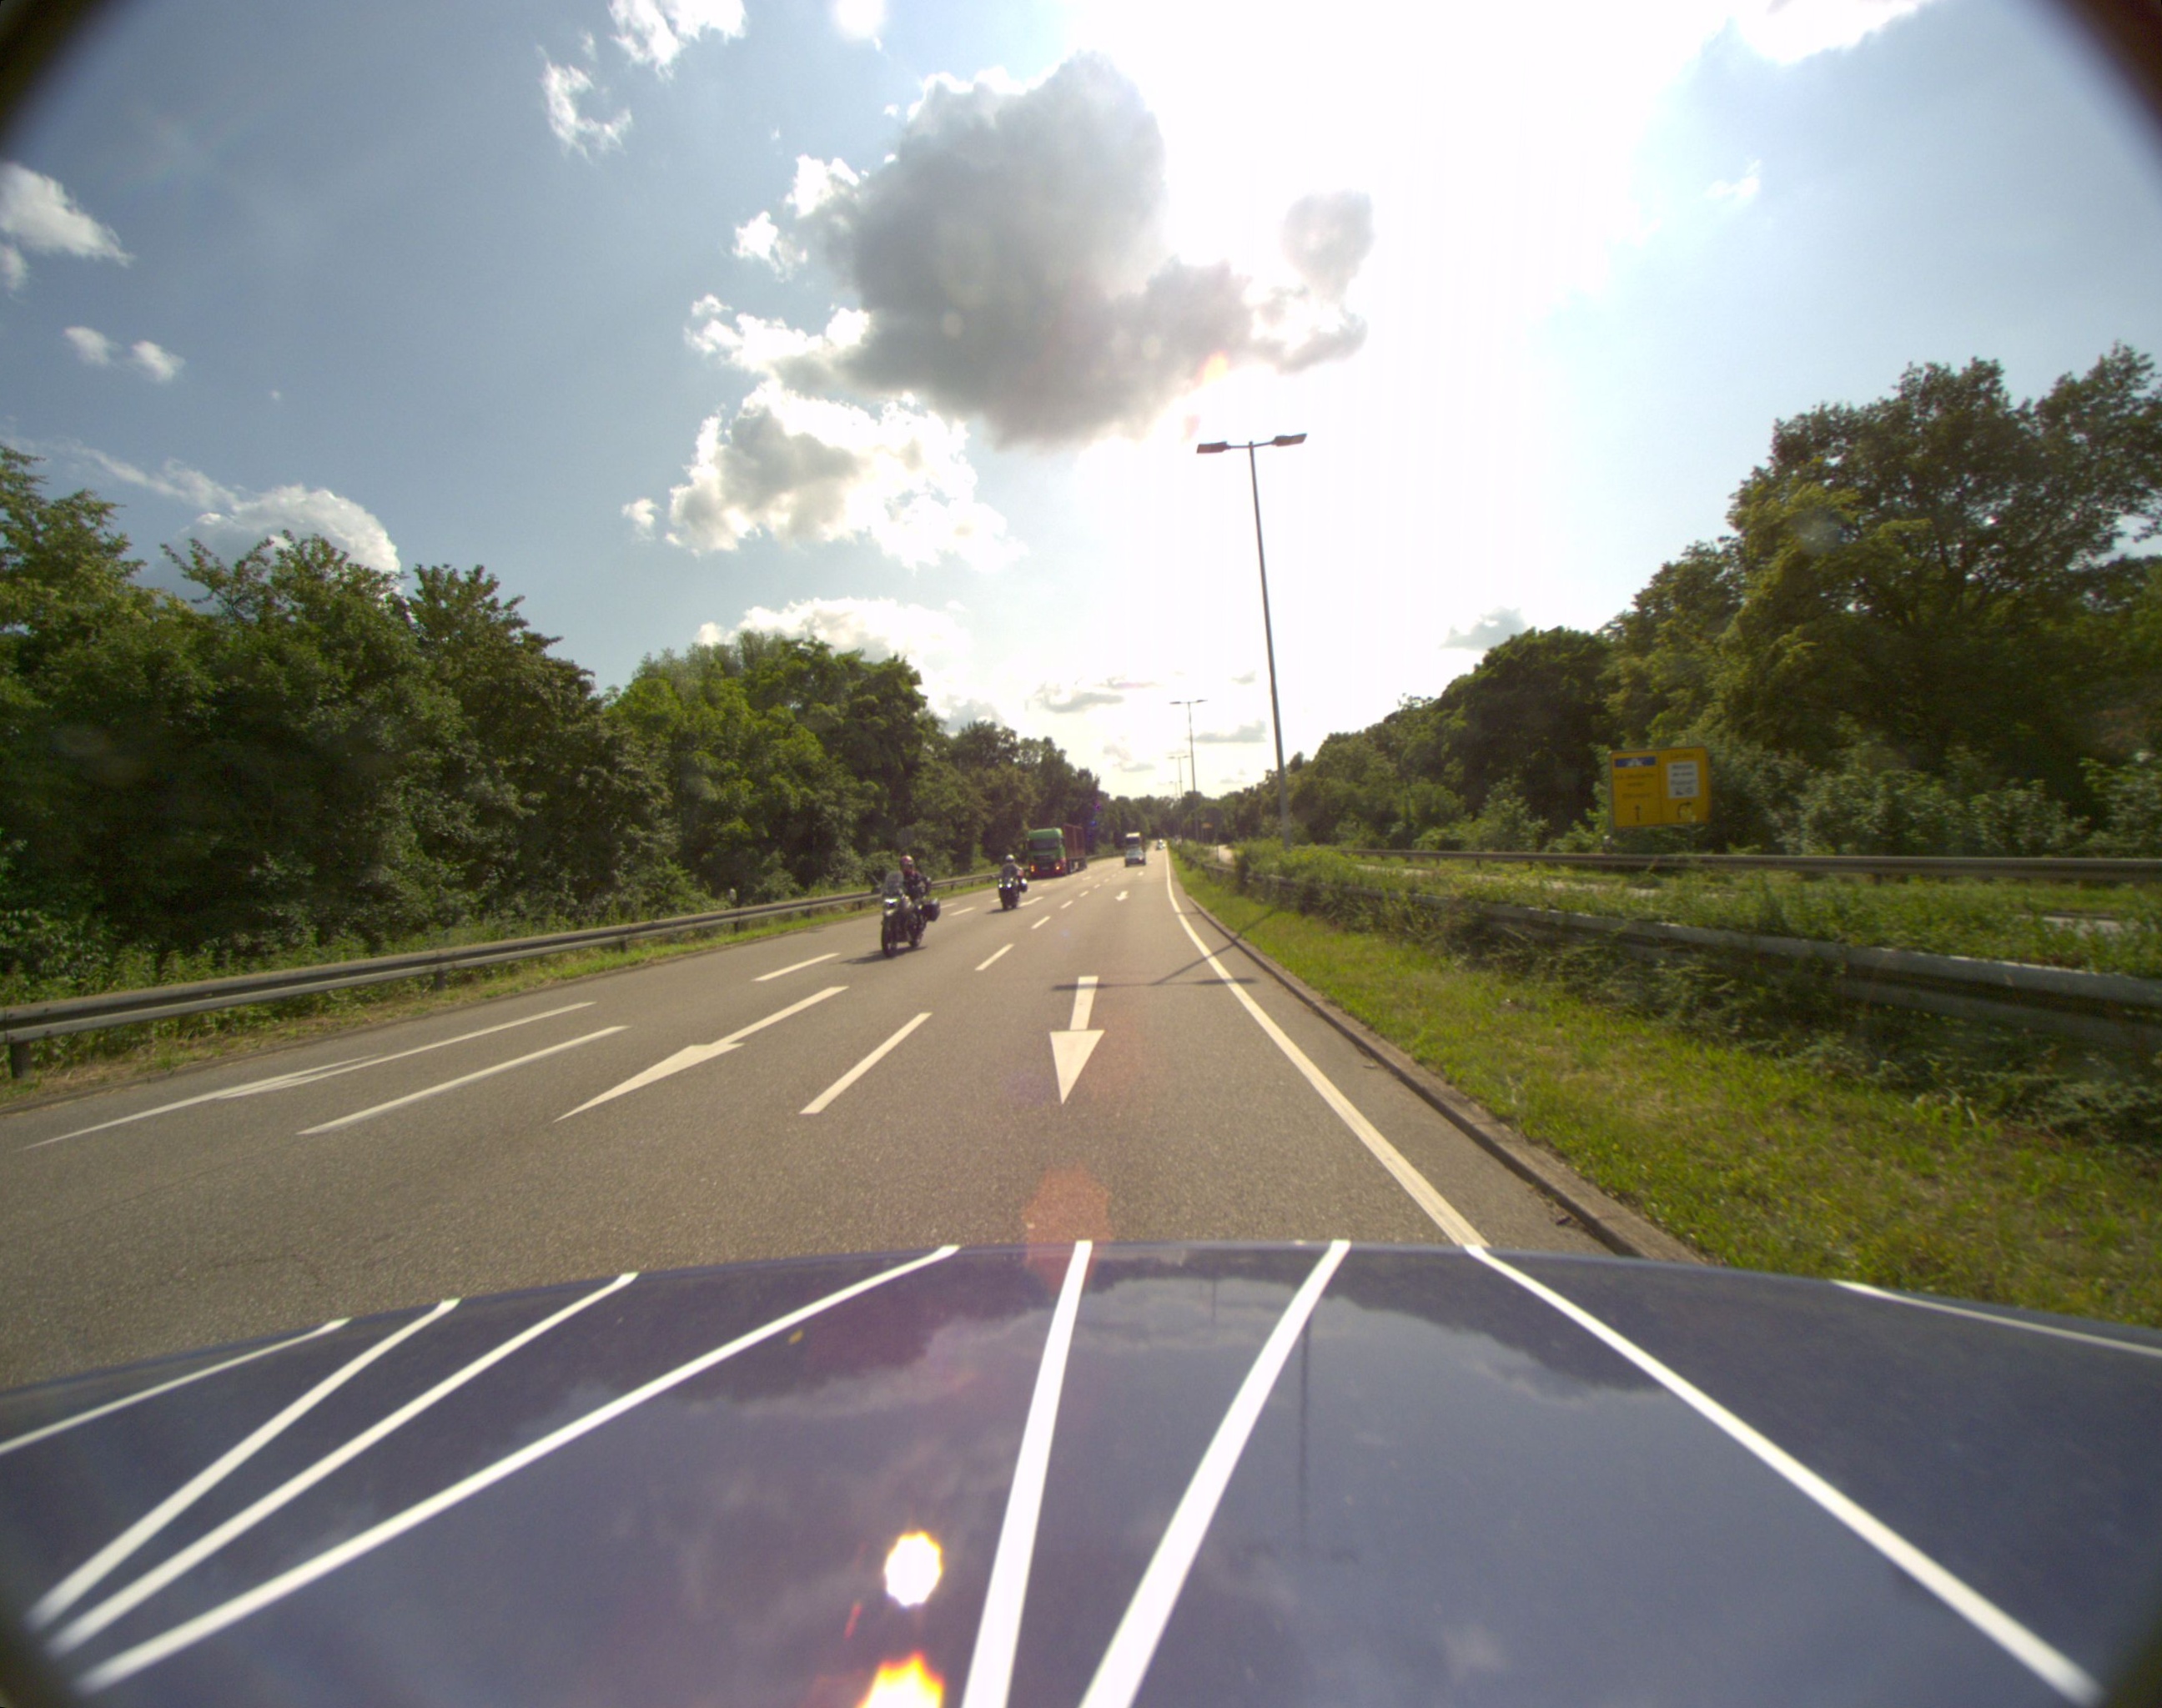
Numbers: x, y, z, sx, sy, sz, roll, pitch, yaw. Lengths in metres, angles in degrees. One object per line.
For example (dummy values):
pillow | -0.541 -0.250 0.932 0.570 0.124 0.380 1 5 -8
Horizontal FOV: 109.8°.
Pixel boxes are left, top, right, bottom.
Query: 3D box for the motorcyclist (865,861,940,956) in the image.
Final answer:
motorcyclist | -3.159 0.942 13.569 0.939 1.581 1.084 -3 0 5

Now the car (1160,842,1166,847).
car | 24.805 -2.821 229.986 1.796 1.368 4.002 -3 0 7

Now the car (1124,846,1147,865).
car | 4.835 0.113 66.550 1.735 1.468 4.049 -3 0 7

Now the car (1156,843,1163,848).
car | 21.191 -2.348 205.938 1.796 1.368 4.002 -3 0 7

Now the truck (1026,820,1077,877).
truck | -2.077 -0.407 56.559 2.590 3.871 6.064 -5 0 6

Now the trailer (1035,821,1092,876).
trailer | -1.233 -0.459 64.076 2.590 3.871 14.507 -5 0 6

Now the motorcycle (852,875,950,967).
motorcycle | -3.144 1.130 13.592 0.939 1.375 2.371 -3 0 5

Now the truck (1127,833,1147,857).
truck | 10.290 -1.648 139.255 2.689 3.948 7.387 -5 0 9

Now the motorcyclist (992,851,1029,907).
motorcyclist | -2.192 0.772 23.701 0.867 1.690 0.895 -3 0 7

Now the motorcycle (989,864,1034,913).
motorcycle | -2.152 1.051 23.893 0.867 1.381 2.371 -3 0 7
